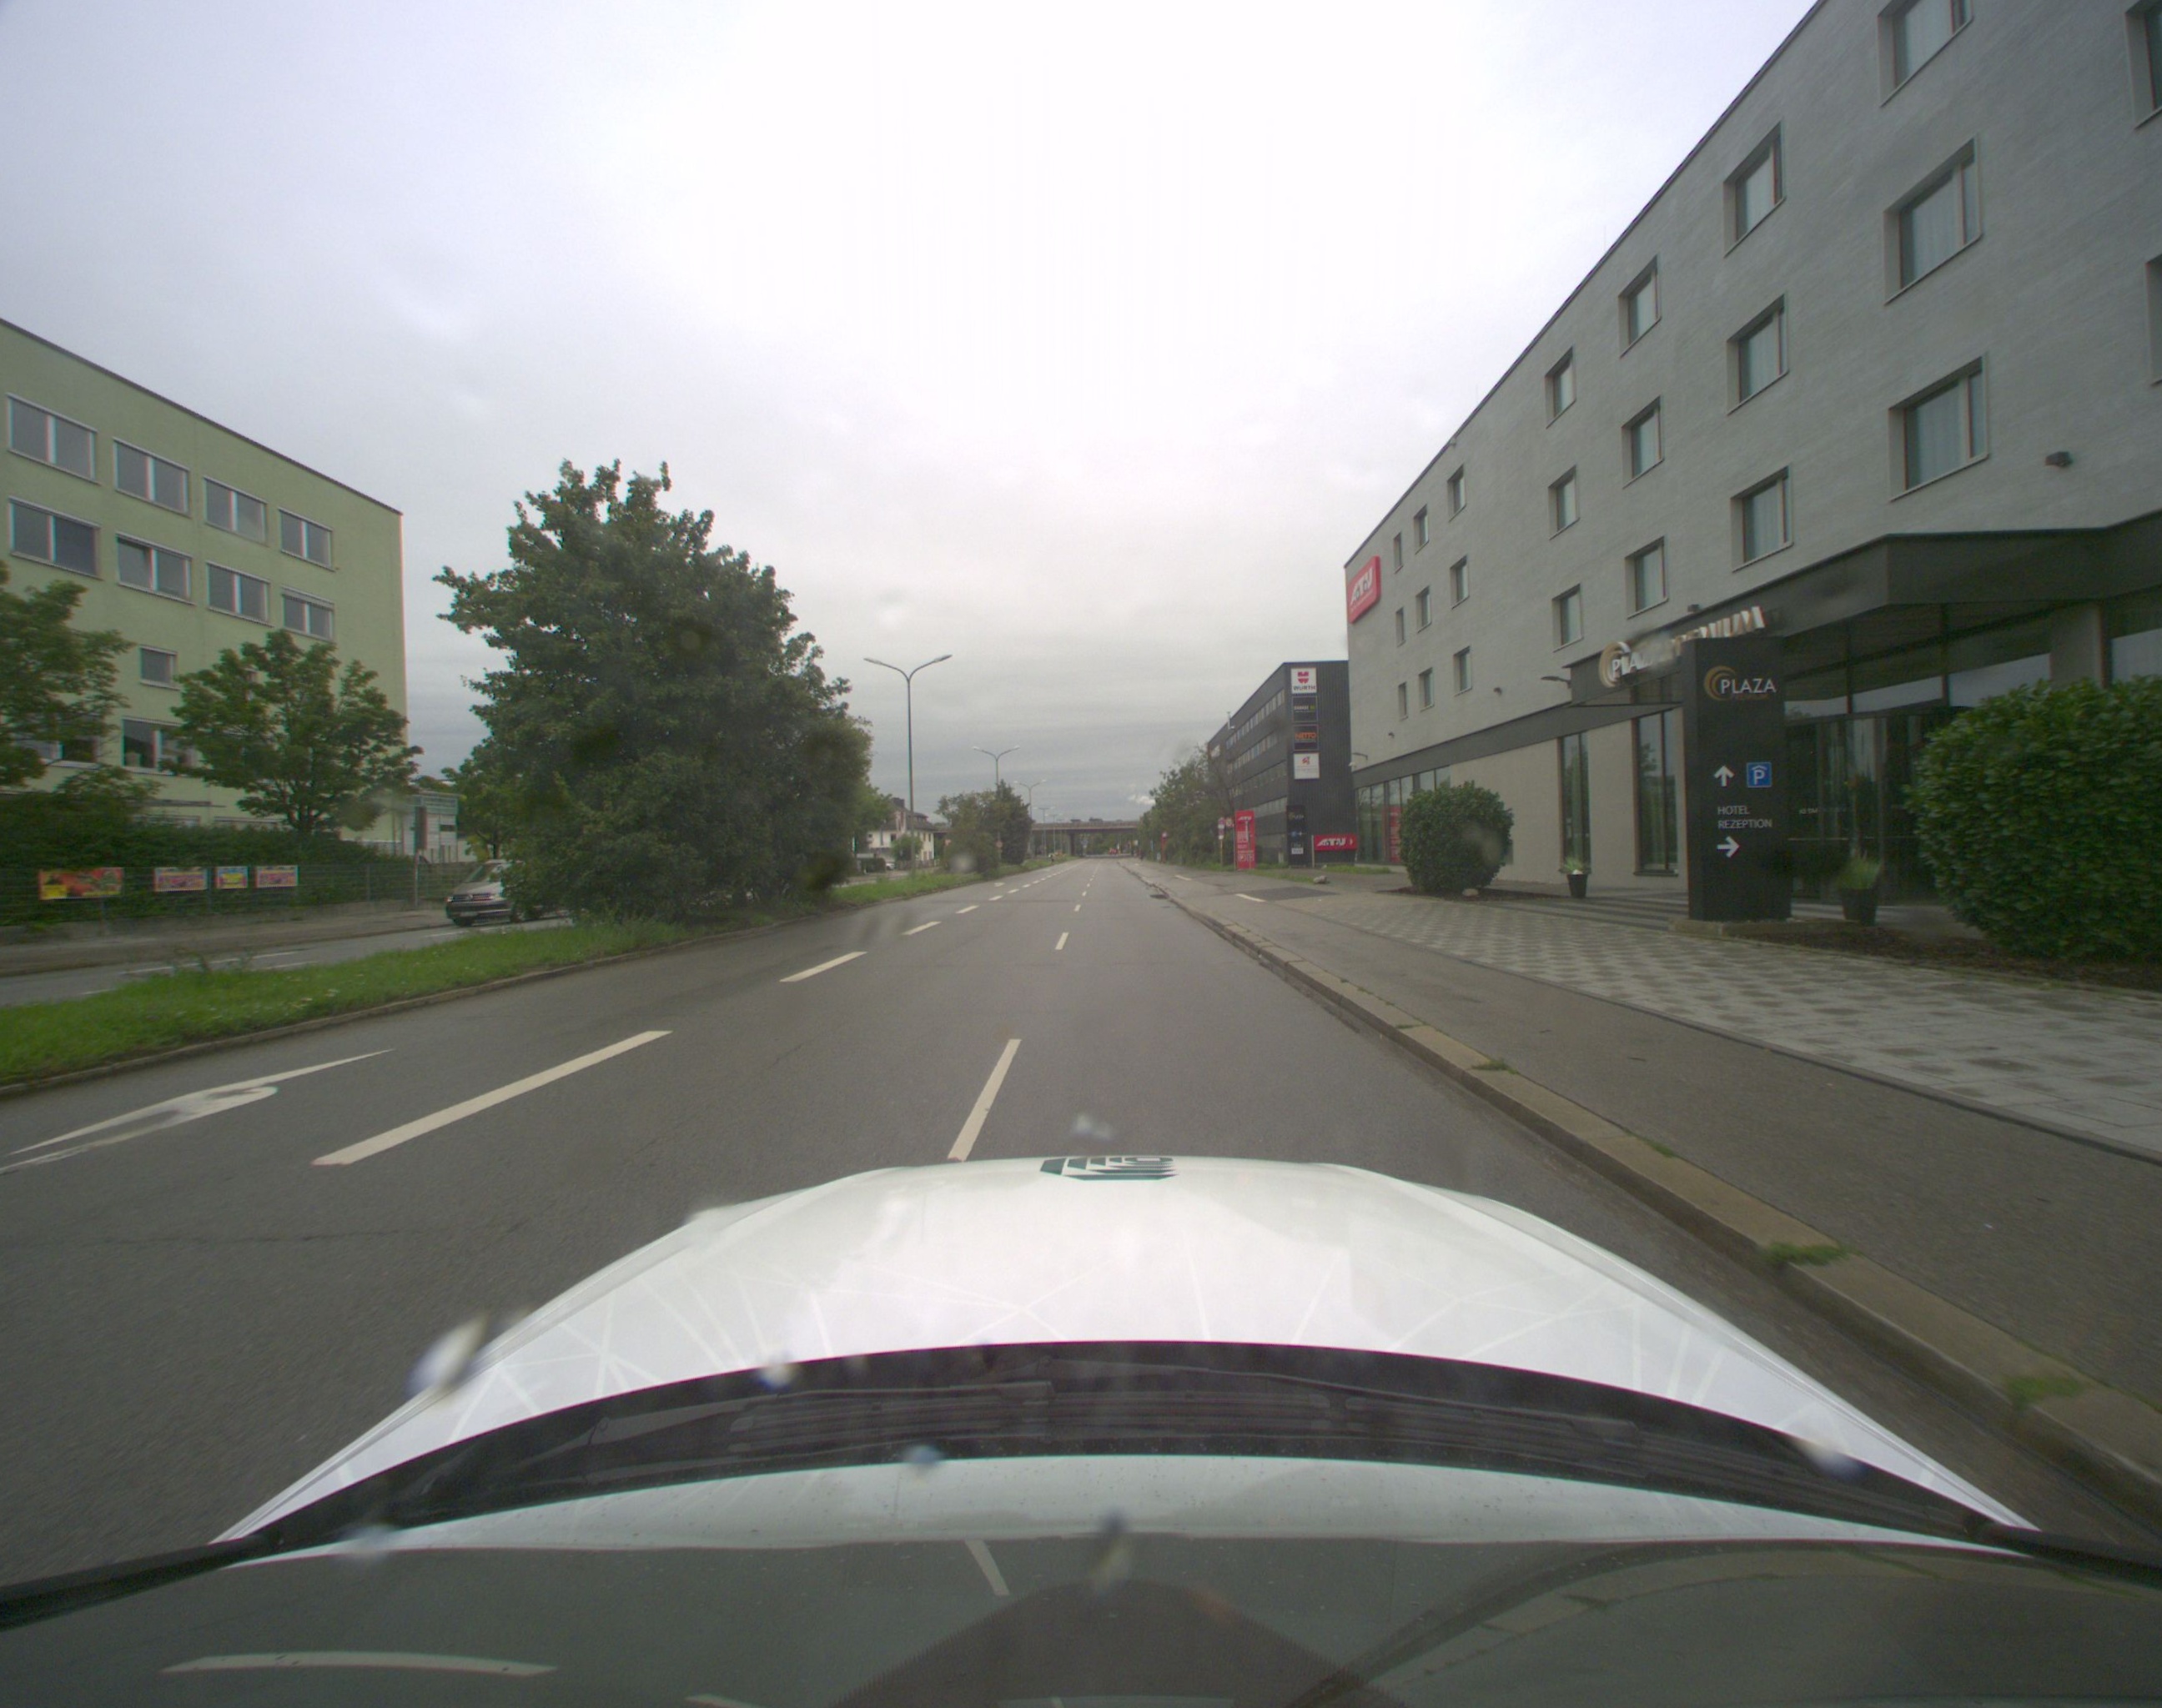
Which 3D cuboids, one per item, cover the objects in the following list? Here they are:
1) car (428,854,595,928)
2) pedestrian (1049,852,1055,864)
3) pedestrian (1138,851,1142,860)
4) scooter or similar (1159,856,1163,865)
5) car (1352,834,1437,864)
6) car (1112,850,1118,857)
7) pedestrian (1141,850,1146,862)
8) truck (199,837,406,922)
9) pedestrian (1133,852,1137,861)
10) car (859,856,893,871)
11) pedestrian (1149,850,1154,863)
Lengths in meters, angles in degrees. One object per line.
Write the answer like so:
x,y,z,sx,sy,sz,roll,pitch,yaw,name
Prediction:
-17.329,1.037,25.102,1.987,1.960,4.324,-3,0,0,car
-3.918,0.517,110.677,0.656,1.617,0.692,-3,0,6,pedestrian
11.242,0.248,154.999,0.686,1.617,0.662,-3,0,1,pedestrian
9.495,0.790,96.556,0.303,1.004,1.219,-3,0,-1,scooter or similar
17.125,-0.263,44.681,3.996,1.557,1.822,-1,0,3,car
10.234,-0.204,245.771,1.805,2.013,3.836,-1,0,3,car
10.016,0.326,130.825,0.686,1.876,0.662,-3,0,1,pedestrian
-28.222,0.828,29.871,1.983,2.748,5.314,-3,0,7,truck
10.264,0.427,155.147,0.686,1.617,0.662,-3,0,1,pedestrian
-26.518,1.183,105.493,4.143,1.708,1.842,-3,0,-11,car
10.354,0.426,119.937,0.686,1.876,0.662,-3,0,1,pedestrian
